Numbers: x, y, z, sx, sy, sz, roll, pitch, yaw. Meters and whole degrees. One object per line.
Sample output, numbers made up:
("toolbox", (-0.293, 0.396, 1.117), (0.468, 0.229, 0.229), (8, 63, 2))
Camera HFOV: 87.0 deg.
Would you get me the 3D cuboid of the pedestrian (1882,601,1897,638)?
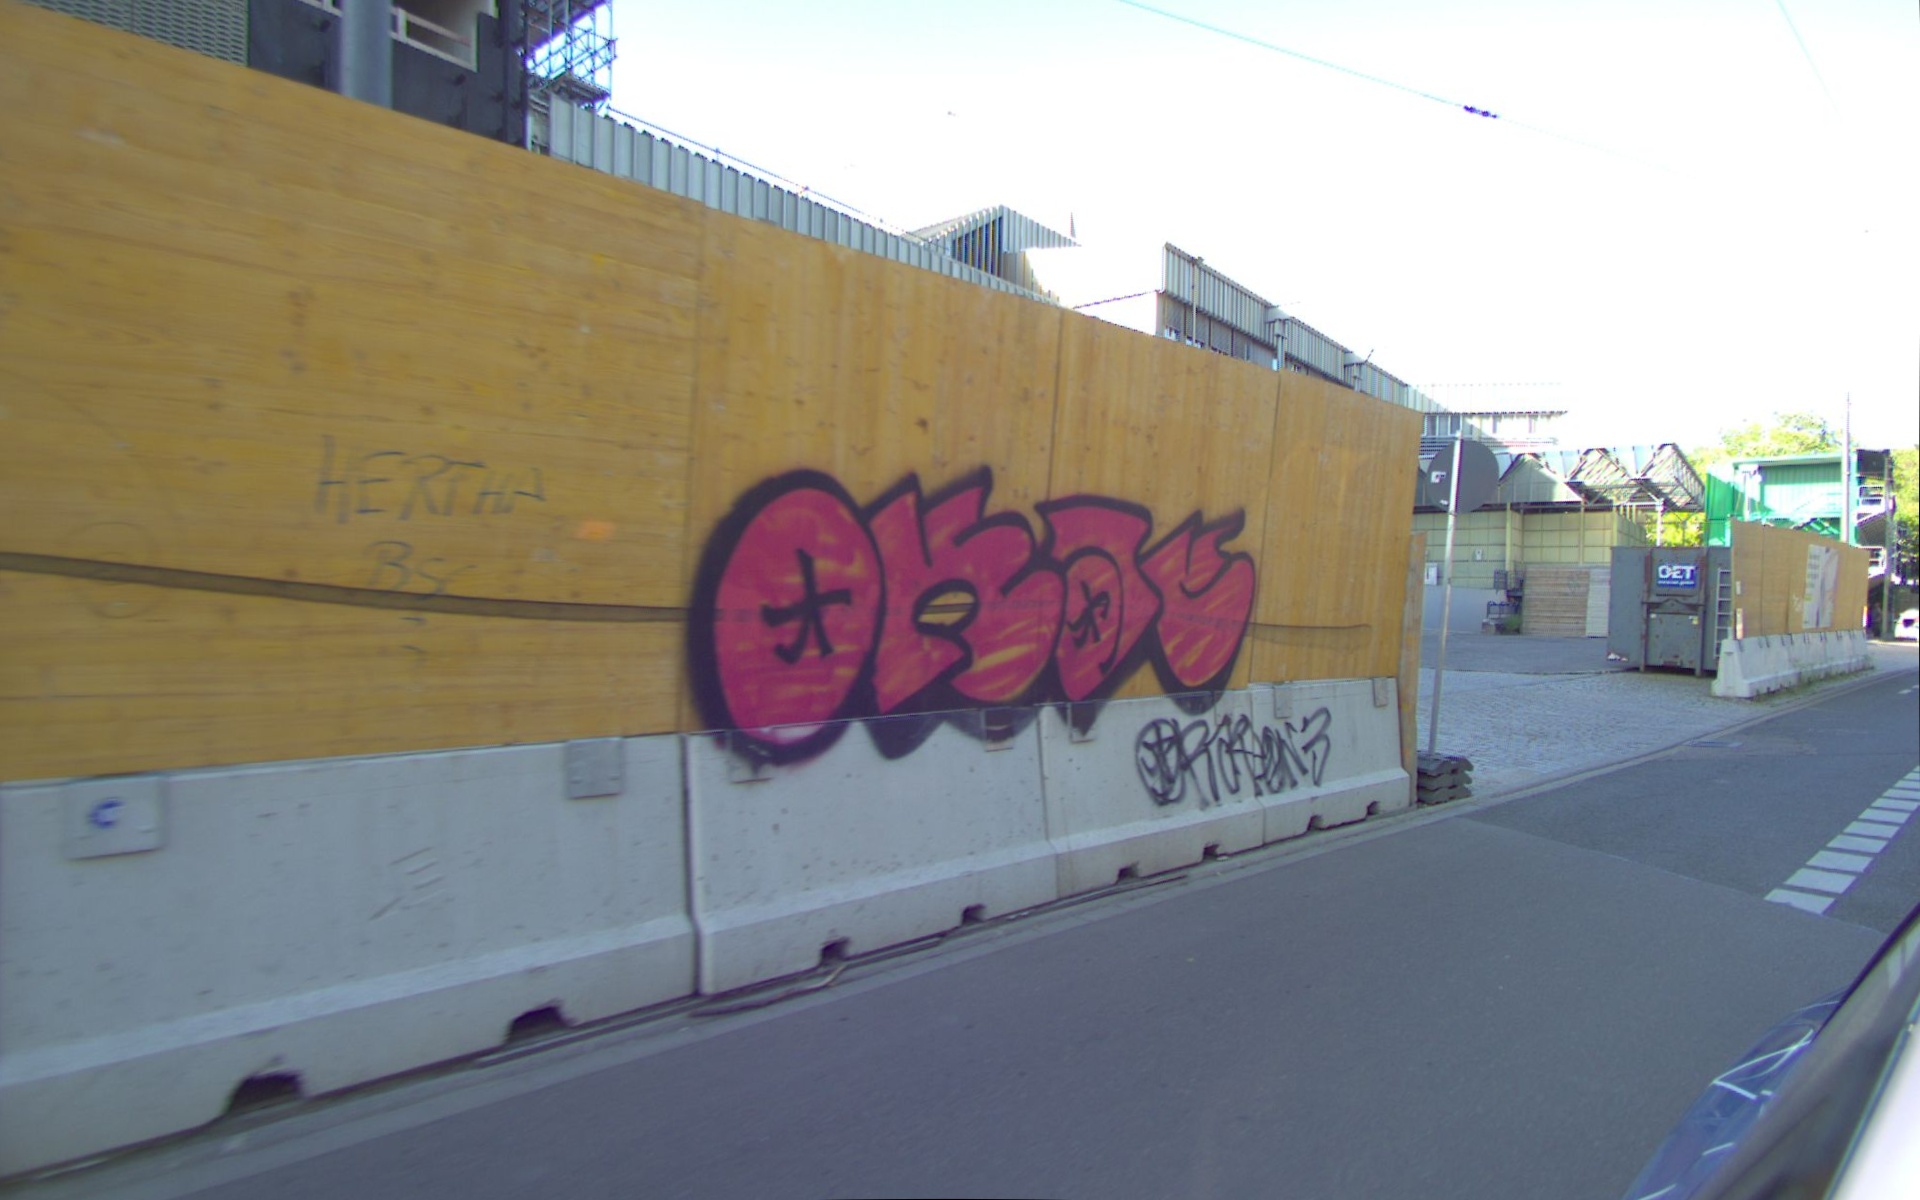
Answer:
("pedestrian", (44.373, 0.920, 48.326), (0.445, 1.780, 0.373), (1, 0, 30))
